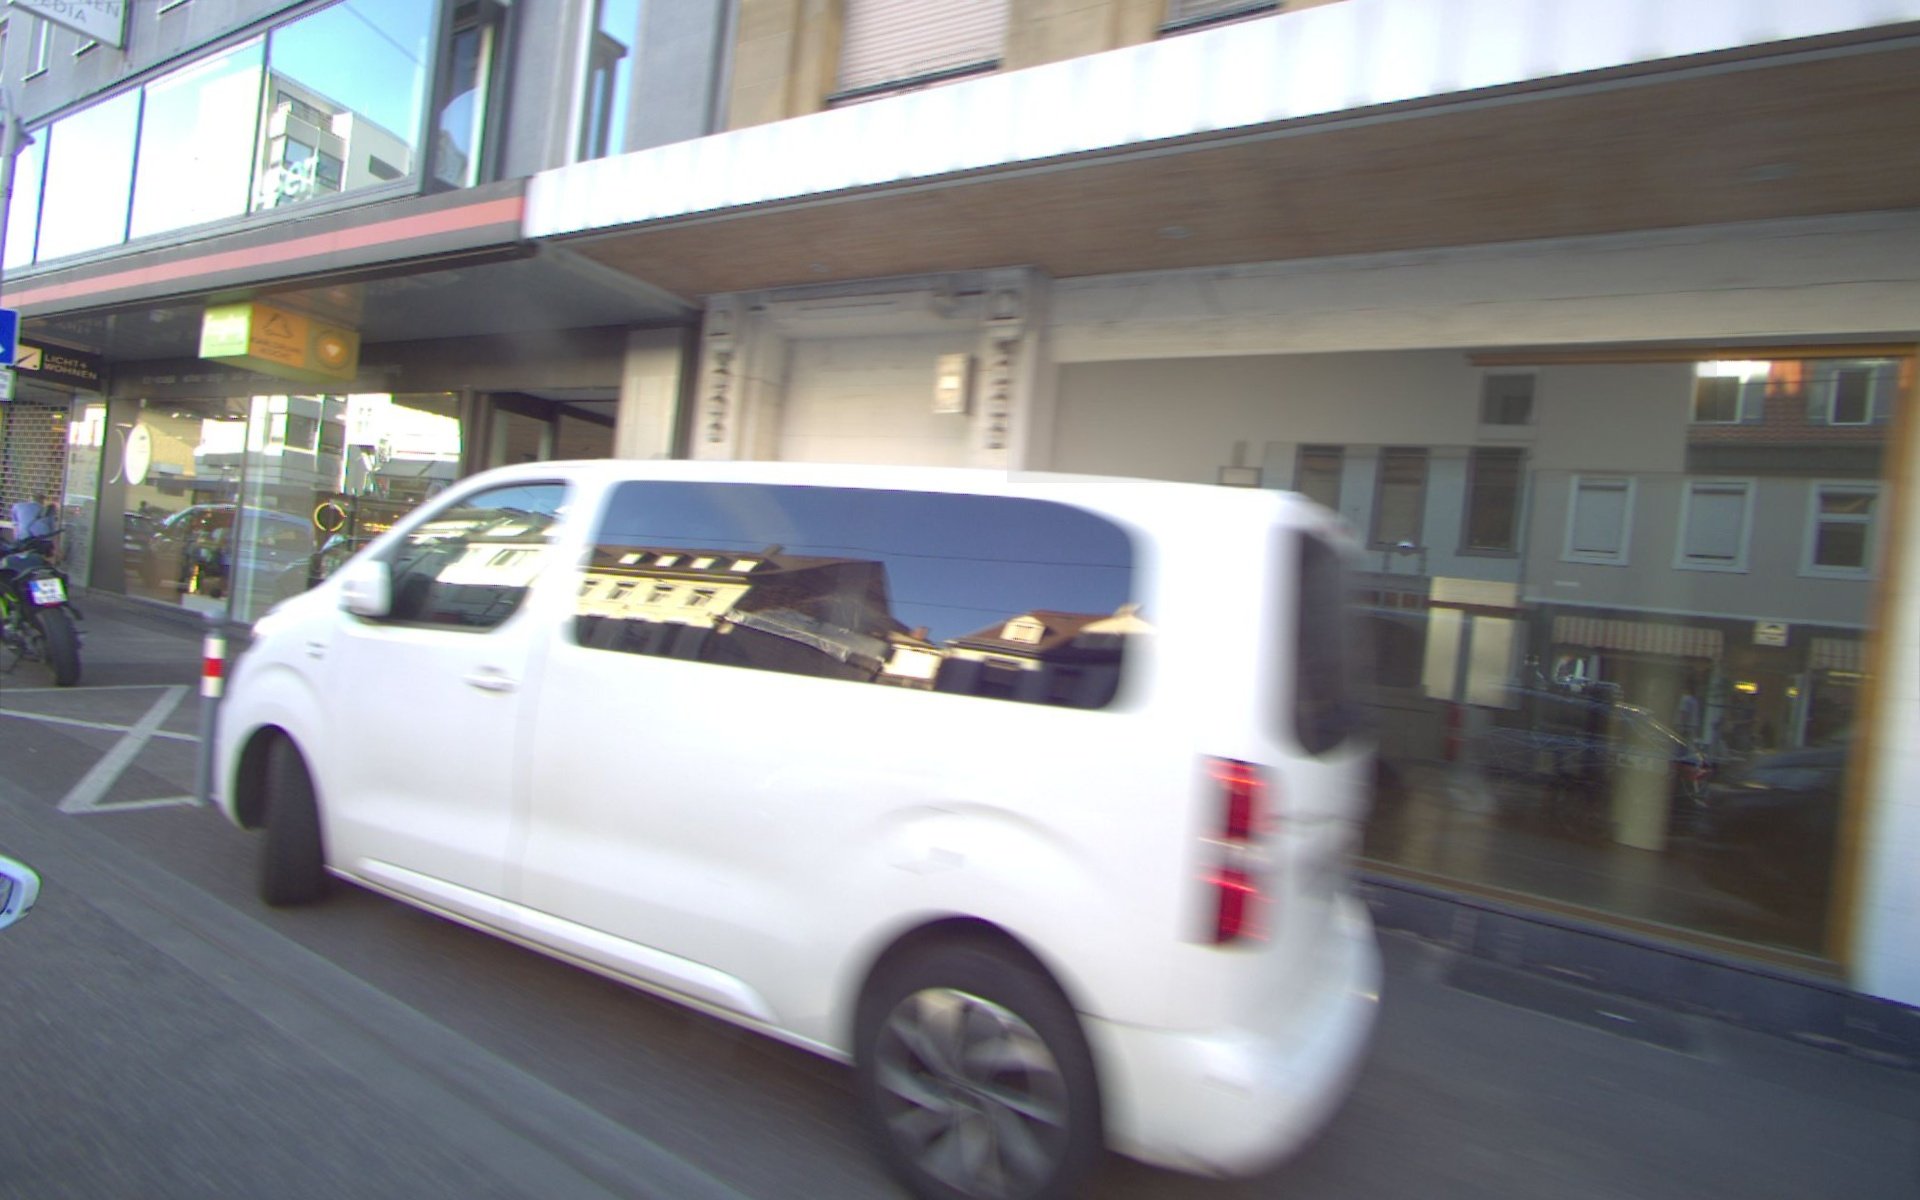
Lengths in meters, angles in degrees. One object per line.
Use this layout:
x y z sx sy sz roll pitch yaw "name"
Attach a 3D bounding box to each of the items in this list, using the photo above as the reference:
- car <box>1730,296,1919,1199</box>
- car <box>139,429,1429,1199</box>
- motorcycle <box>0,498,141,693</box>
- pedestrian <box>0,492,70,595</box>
4.329 0.808 0.660 5.590 2.530 2.050 8 -1 31 "car"
-0.897 0.508 4.074 4.795 1.934 2.049 6 1 29 "car"
-7.864 -0.104 8.489 2.284 1.450 0.659 6 1 31 "motorcycle"
-13.860 -0.838 15.048 0.719 1.458 0.575 6 2 32 "pedestrian"
